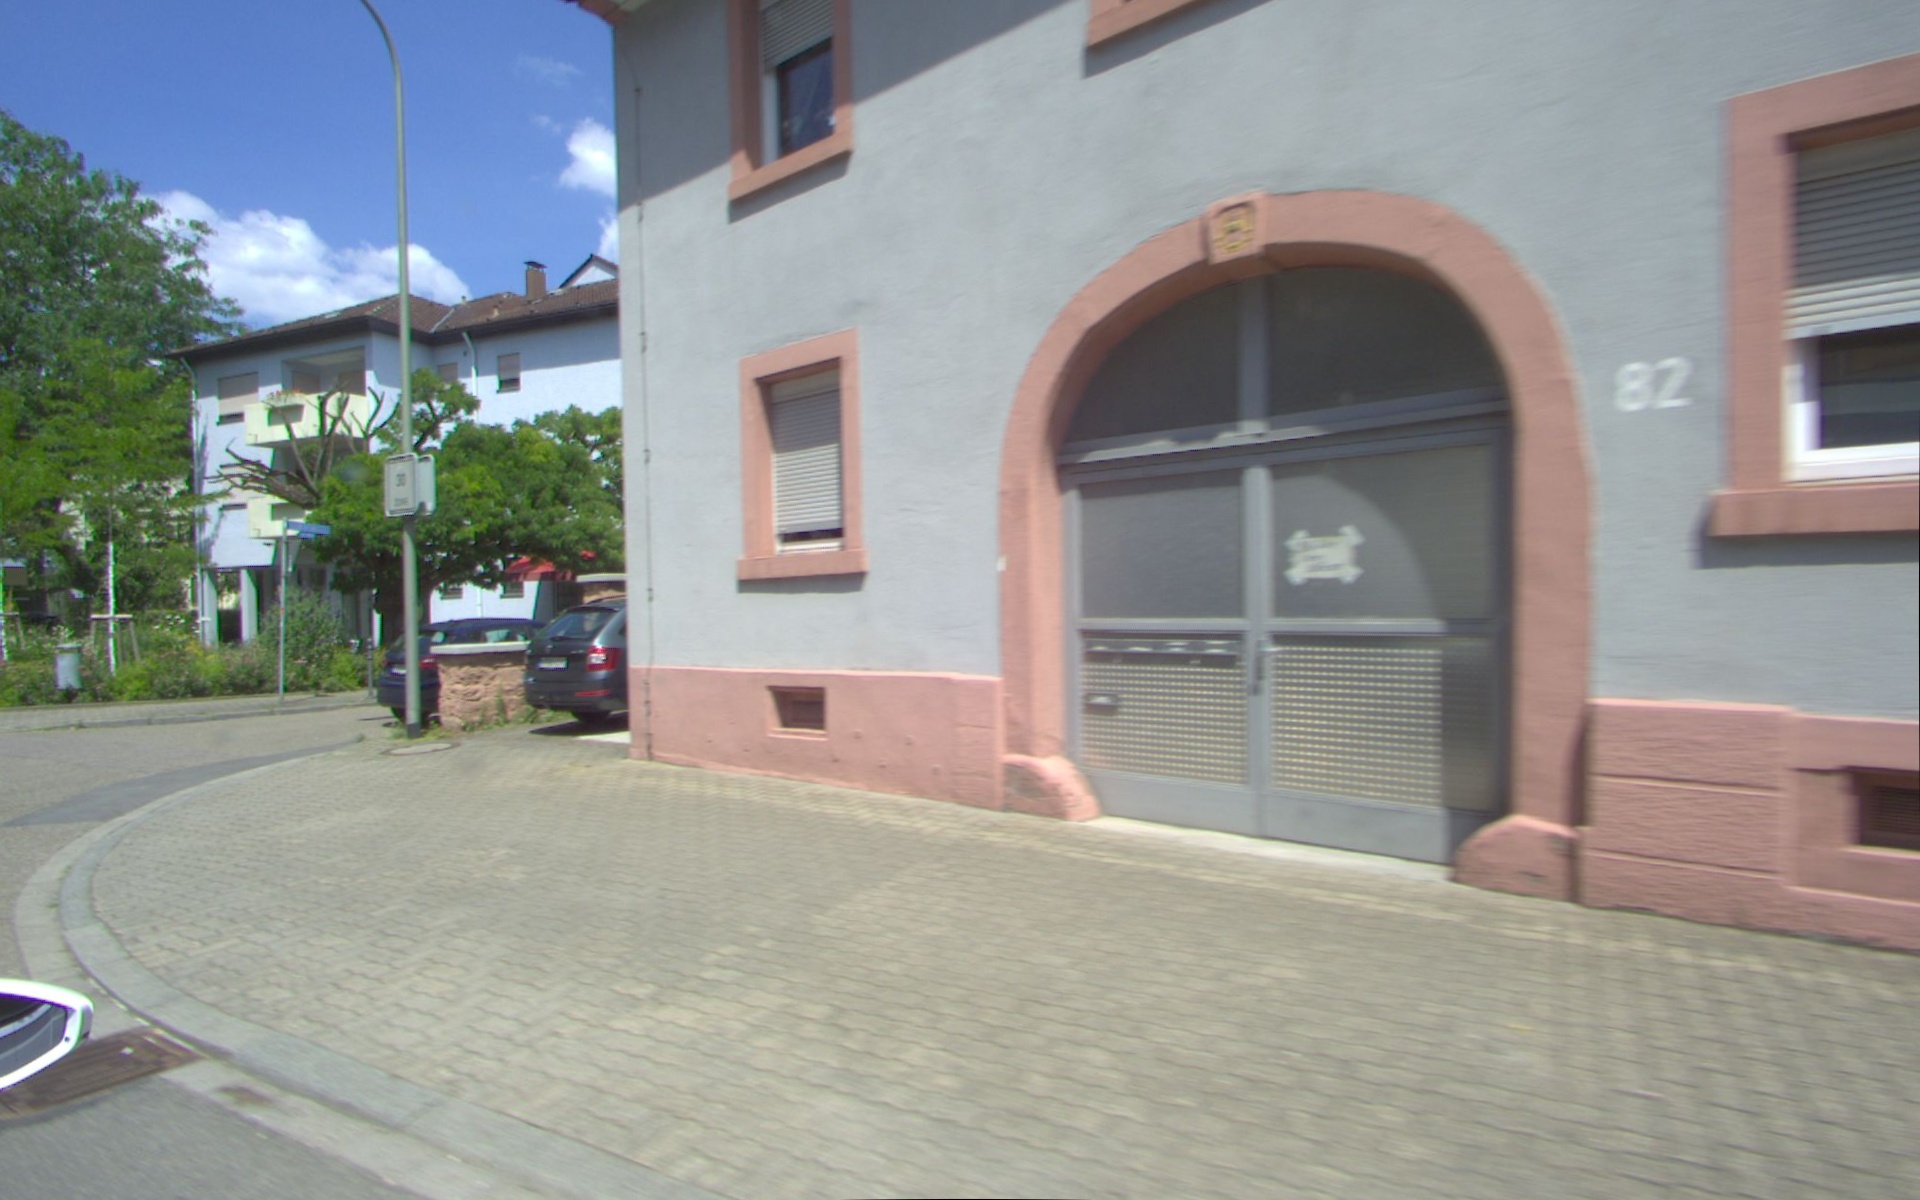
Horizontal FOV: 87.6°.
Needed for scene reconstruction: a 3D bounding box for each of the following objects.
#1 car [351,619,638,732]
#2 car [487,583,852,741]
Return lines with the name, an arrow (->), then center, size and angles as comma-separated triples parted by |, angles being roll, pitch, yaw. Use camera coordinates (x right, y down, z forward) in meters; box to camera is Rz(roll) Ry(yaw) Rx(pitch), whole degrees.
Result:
car -> -6.802, 1.025, 14.991 | 1.715, 1.467, 3.594 | -1, -1, 29
car -> -3.405, 0.643, 12.577 | 1.718, 1.550, 4.256 | -2, 1, 33
